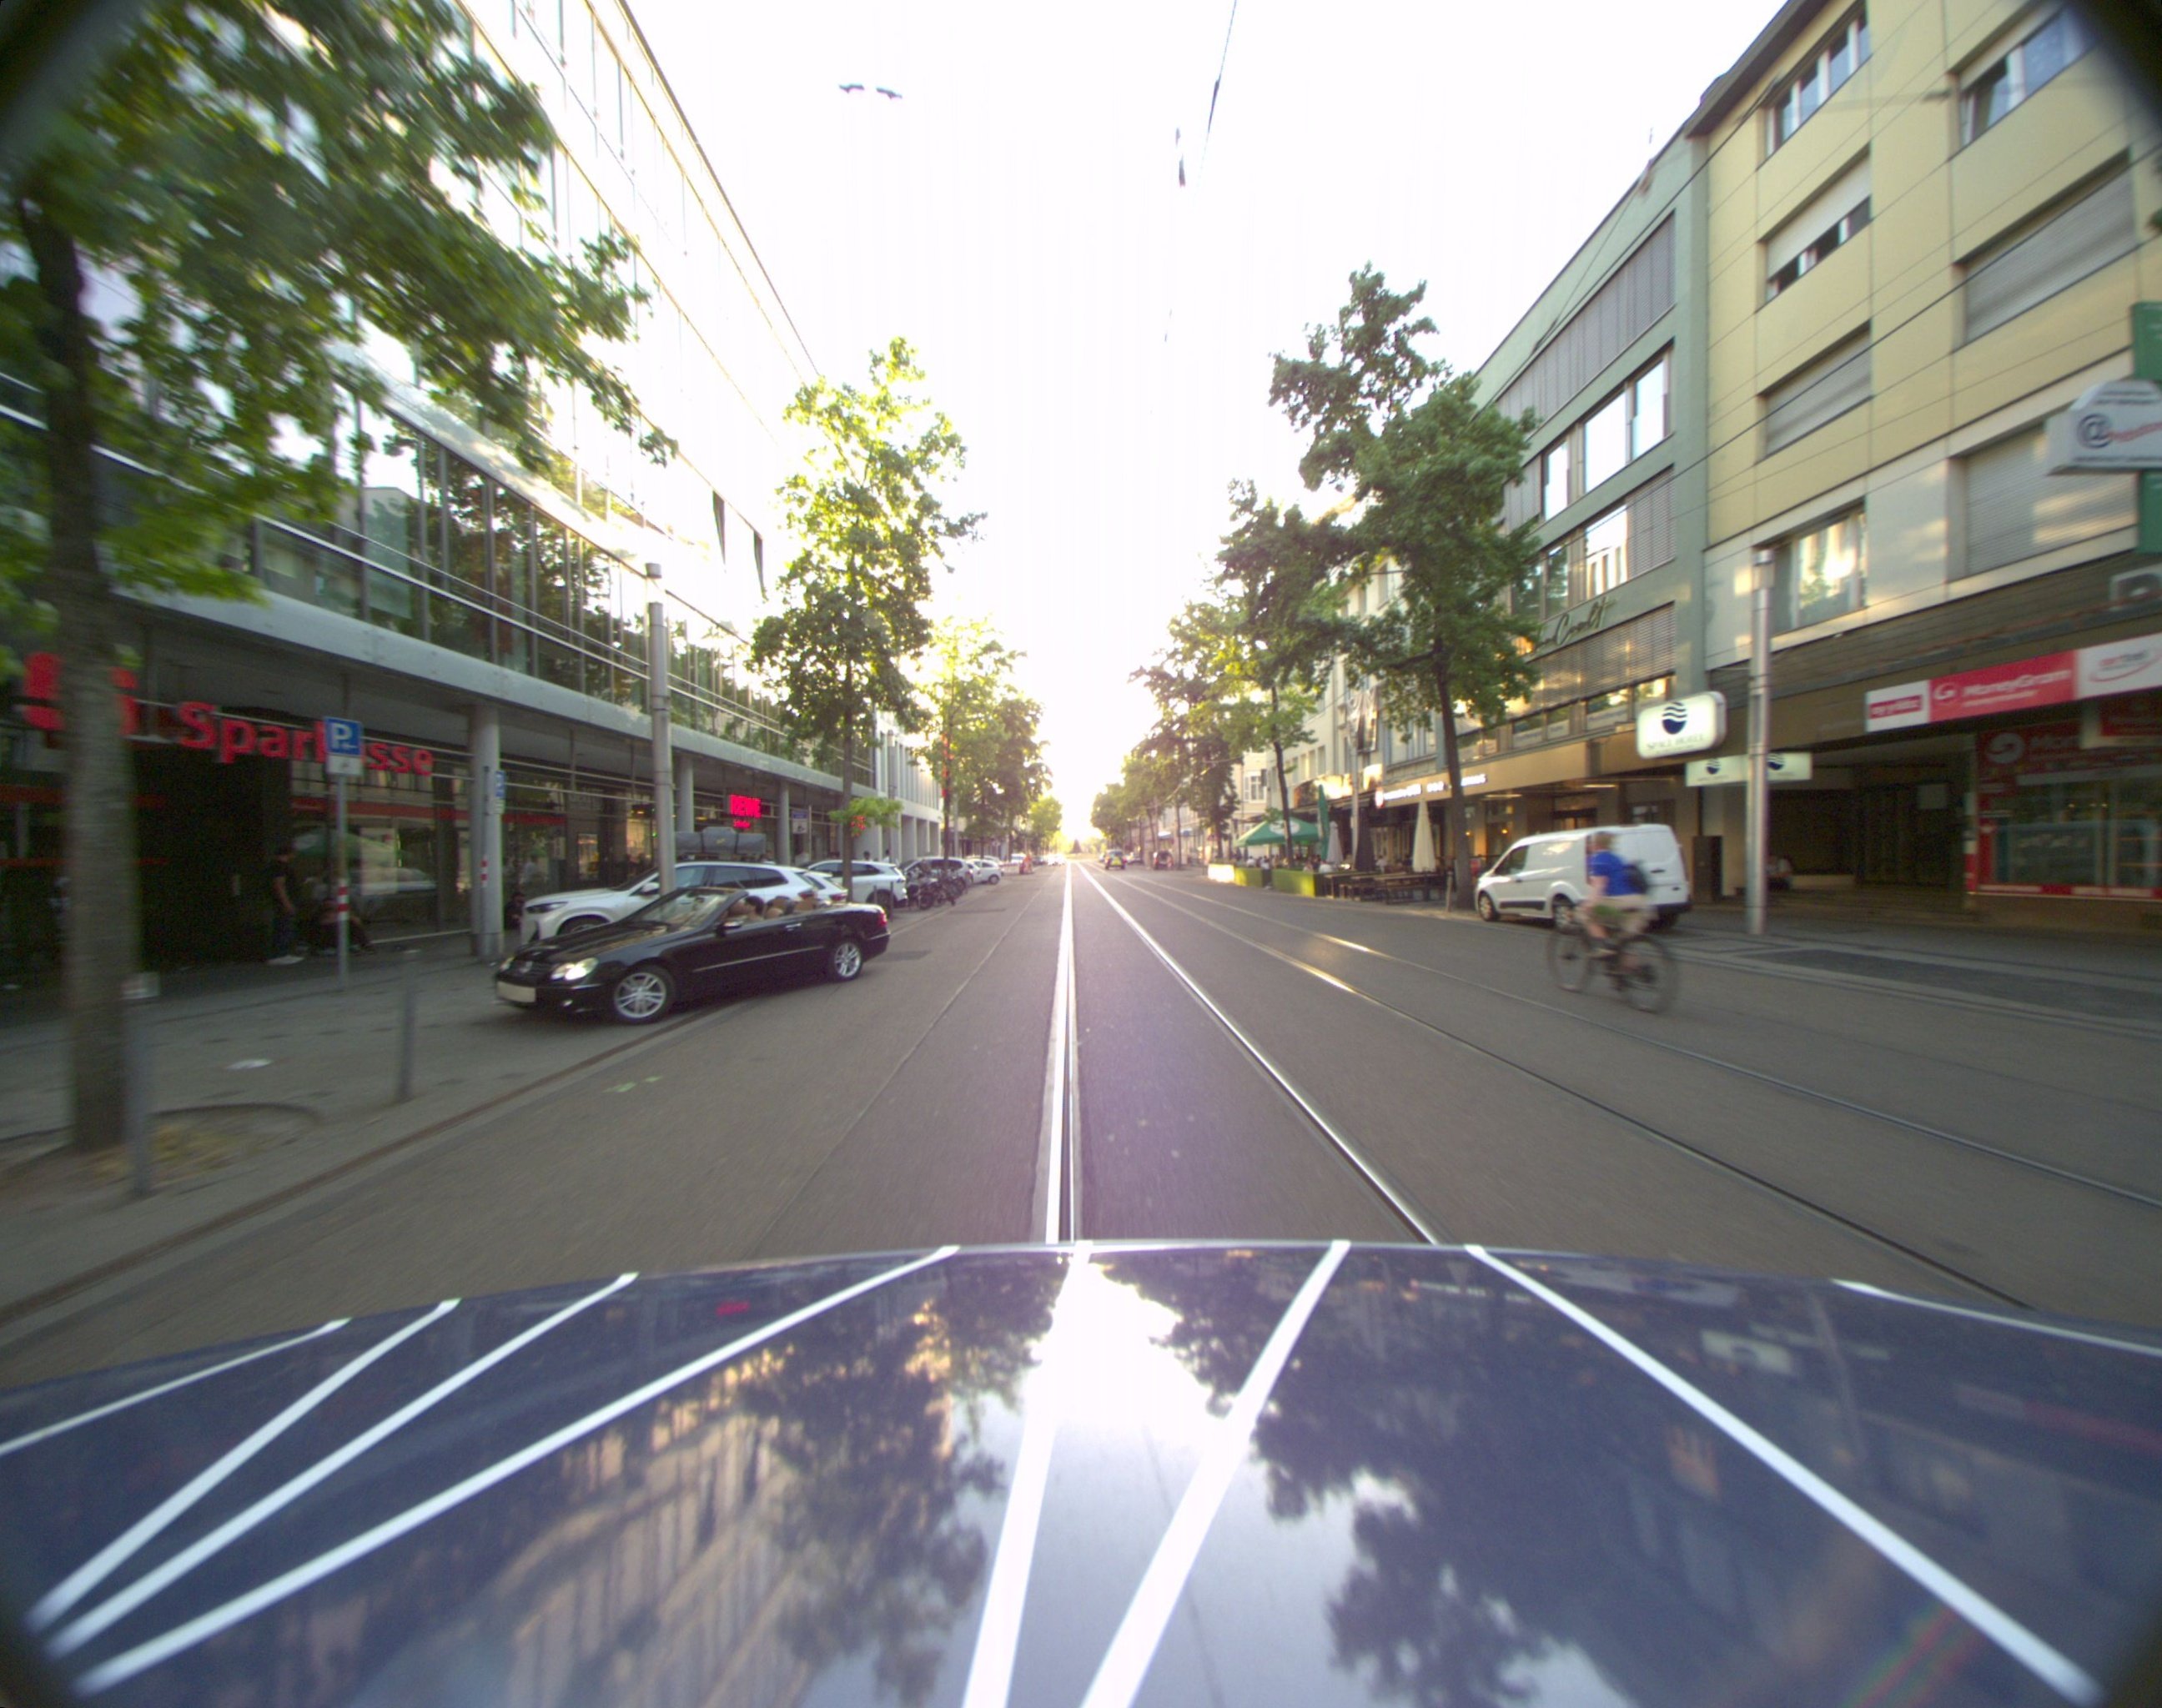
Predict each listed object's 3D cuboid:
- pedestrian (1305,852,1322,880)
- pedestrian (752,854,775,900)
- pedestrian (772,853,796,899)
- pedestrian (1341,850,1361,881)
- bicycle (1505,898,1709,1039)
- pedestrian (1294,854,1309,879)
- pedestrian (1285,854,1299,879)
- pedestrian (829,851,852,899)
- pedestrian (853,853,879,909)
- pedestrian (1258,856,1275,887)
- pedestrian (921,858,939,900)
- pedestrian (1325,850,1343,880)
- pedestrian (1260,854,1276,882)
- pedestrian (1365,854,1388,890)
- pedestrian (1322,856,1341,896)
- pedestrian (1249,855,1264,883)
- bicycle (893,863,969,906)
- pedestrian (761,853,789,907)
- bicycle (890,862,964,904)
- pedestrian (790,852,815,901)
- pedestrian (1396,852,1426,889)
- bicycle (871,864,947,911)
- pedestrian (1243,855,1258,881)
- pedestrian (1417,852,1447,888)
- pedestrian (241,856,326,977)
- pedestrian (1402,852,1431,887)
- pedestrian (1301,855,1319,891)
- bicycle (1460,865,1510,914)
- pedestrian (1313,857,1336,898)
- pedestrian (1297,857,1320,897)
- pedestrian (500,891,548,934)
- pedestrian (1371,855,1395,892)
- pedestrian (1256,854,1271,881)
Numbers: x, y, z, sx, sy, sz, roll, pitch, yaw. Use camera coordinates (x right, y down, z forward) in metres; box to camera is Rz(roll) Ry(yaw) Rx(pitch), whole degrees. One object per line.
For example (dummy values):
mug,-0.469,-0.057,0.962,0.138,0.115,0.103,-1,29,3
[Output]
pedestrian,12.428,0.631,40.664,0.650,1.451,0.650,-1,1,-3
pedestrian,-11.800,0.834,28.247,0.558,1.681,0.628,0,1,0
pedestrian,-11.030,0.809,28.247,0.618,1.681,0.628,0,1,0
pedestrian,12.849,0.534,36.153,0.650,1.451,0.650,-1,1,-3
bicycle,5.022,1.041,7.438,0.732,1.067,1.866,-3,0,3
pedestrian,12.970,0.728,44.742,0.650,1.451,0.650,-1,1,-3
pedestrian,12.397,0.747,44.646,0.650,1.451,0.650,-1,1,-3
pedestrian,-8.654,0.743,27.358,0.618,1.681,0.628,0,1,0
pedestrian,-6.972,0.867,24.655,0.618,1.789,0.628,0,1,0
pedestrian,8.461,0.801,34.675,0.649,1.378,0.650,-1,1,6
pedestrian,-6.178,0.998,31.051,0.618,1.681,0.628,-1,1,-5
pedestrian,12.330,0.539,37.065,0.650,1.451,0.650,-1,1,-3
pedestrian,9.487,0.721,38.544,0.649,1.378,0.650,-1,1,6
pedestrian,12.238,0.753,31.507,0.650,1.451,0.650,-1,1,-2
pedestrian,9.303,0.815,28.232,0.649,1.451,0.651,-1,1,17
pedestrian,8.894,0.740,38.569,0.649,1.378,0.650,-1,1,6
bicycle,-5.689,1.139,28.915,2.677,1.448,0.728,-4,1,-27
pedestrian,-9.779,0.817,24.289,0.618,1.681,0.628,0,1,0
bicycle,-6.074,1.138,30.019,2.677,1.448,0.675,-4,1,-26
pedestrian,-9.873,0.788,26.957,0.618,1.681,0.628,0,1,0
pedestrian,12.150,0.602,28.008,0.701,1.308,0.786,-1,1,-5
bicycle,-6.132,1.178,27.114,2.492,1.448,0.656,-4,1,-26
pedestrian,8.886,0.725,39.810,0.649,1.378,0.650,-1,1,6
pedestrian,12.906,0.578,27.977,0.701,1.308,0.786,-1,1,-5
pedestrian,-11.885,0.911,11.347,0.558,1.762,0.628,0,1,0
pedestrian,12.766,0.571,28.936,0.701,1.308,0.786,-1,1,-5
pedestrian,9.458,0.772,31.351,0.649,1.451,0.651,-1,1,13
bicycle,9.900,0.854,18.609,1.804,1.101,0.499,-2,1,-43
pedestrian,8.801,0.841,27.443,0.648,1.451,0.651,-1,1,29
pedestrian,8.507,0.839,28.382,0.649,1.451,0.650,-1,1,0
pedestrian,-12.053,1.268,16.453,0.627,0.876,0.558,0,1,-1
pedestrian,12.153,0.768,30.551,0.650,1.451,0.649,-1,1,-9
pedestrian,9.536,0.705,39.756,0.649,1.378,0.650,-1,1,6
